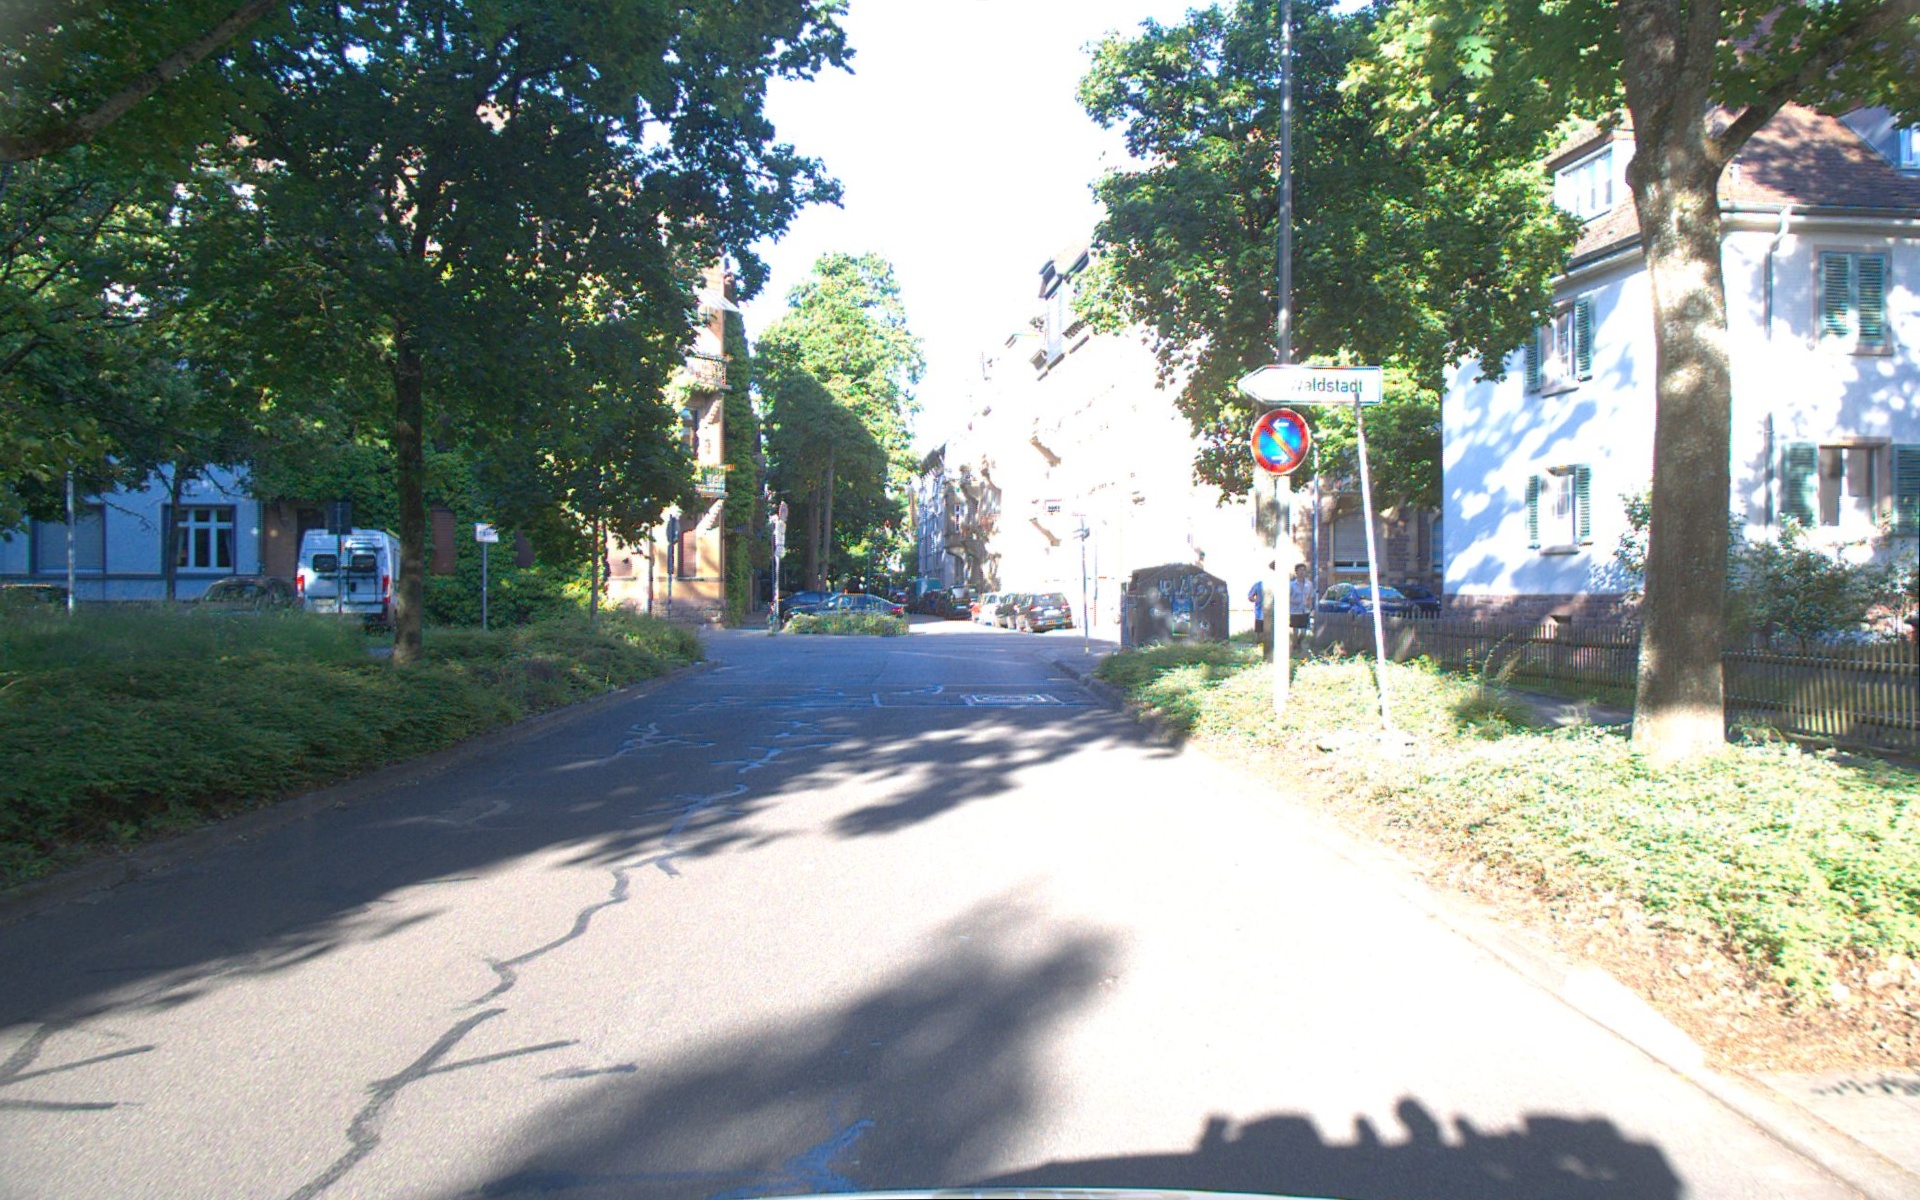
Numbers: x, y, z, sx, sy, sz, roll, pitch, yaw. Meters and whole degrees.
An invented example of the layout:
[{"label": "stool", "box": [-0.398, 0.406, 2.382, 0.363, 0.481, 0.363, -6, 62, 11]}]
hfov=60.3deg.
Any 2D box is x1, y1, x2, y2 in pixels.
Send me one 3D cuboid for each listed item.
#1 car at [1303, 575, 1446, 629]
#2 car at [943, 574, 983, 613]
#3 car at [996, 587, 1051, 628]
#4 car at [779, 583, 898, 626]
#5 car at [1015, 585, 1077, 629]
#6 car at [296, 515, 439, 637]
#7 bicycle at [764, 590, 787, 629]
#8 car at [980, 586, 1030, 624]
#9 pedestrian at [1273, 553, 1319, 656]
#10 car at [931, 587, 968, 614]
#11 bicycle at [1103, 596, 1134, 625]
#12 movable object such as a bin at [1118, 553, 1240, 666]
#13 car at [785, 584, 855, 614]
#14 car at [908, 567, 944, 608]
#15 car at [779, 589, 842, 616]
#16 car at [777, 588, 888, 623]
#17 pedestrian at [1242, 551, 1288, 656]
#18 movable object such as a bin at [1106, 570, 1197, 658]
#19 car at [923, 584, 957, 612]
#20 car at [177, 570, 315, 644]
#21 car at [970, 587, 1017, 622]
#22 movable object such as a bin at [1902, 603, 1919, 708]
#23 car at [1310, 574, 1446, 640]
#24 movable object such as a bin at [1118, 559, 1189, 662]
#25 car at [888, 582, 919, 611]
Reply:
[{"label": "car", "box": [13.435, 0.062, 53.698, 4.168, 1.650, 1.731, 1, 1, -11]}, {"label": "car", "box": [0.140, -0.341, 90.803, 1.768, 2.039, 3.995, 1, 0, -6]}, {"label": "car", "box": [2.609, 0.299, 68.544, 1.704, 1.609, 3.995, 1, 0, -6]}, {"label": "car", "box": [-4.446, 0.166, 60.196, 4.164, 1.460, 1.996, 1, 0, -8]}, {"label": "car", "box": [3.197, 0.253, 62.329, 1.704, 1.609, 3.995, 1, 0, -6]}, {"label": "car", "box": [-13.998, -0.537, 39.430, 2.190, 2.660, 5.619, 1, 0, -9]}, {"label": "bicycle", "box": [-6.226, 0.299, 55.968, 0.551, 1.290, 1.603, -1, 0, 1]}, {"label": "car", "box": [1.990, 0.227, 73.913, 1.704, 1.609, 3.995, 1, 0, -6]}, {"label": "pedestrian", "box": [6.442, 0.083, 31.752, 0.629, 1.927, 1.018, 1, 0, -1]}, {"label": "car", "box": [-0.658, 0.037, 99.229, 1.768, 1.541, 3.995, 1, 0, -6]}, {"label": "bicycle", "box": [5.639, 0.374, 58.850, 0.506, 1.015, 1.568, 1, 0, -18]}, {"label": "movable object such as a bin", "box": [3.776, 0.163, 28.669, 1.881, 1.886, 1.393, 1, 0, -1]}, {"label": "car", "box": [-7.797, -0.051, 91.988, 3.732, 1.603, 1.706, 1, 0, -10]}, {"label": "car", "box": [-2.414, -0.874, 116.161, 2.124, 2.737, 4.784, 1, 0, -6]}, {"label": "car", "box": [-9.222, 0.150, 101.834, 3.730, 1.603, 1.707, 1, 0, -9]}, {"label": "car", "box": [-5.621, 0.249, 72.587, 4.744, 1.460, 1.707, 1, 0, -8]}, {"label": "pedestrian", "box": [5.747, 0.063, 31.199, 0.659, 1.927, 0.895, 1, 0, -1]}, {"label": "movable object such as a bin", "box": [3.775, 0.273, 32.771, 1.554, 1.686, 1.639, 1, 0, -1]}, {"label": "car", "box": [-1.307, -0.137, 105.959, 1.768, 1.708, 3.995, 1, 0, -6]}, {"label": "car", "box": [-16.525, 0.146, 38.486, 1.936, 1.602, 4.290, 1, 0, -9]}, {"label": "car", "box": [1.572, 0.217, 78.447, 1.704, 1.609, 3.995, 1, 0, -6]}, {"label": "movable object such as a bin", "box": [9.873, 0.548, 16.431, 0.630, 1.047, 0.645, -2, 0, -2]}, {"label": "car", "box": [10.765, 0.220, 42.876, 1.957, 1.583, 3.990, 1, -1, -10]}, {"label": "movable object such as a bin", "box": [3.621, 0.191, 31.084, 1.124, 1.859, 1.386, 1, 0, -1]}, {"label": "car", "box": [-4.544, -0.290, 133.150, 2.124, 2.276, 4.784, 1, 0, -6]}]
